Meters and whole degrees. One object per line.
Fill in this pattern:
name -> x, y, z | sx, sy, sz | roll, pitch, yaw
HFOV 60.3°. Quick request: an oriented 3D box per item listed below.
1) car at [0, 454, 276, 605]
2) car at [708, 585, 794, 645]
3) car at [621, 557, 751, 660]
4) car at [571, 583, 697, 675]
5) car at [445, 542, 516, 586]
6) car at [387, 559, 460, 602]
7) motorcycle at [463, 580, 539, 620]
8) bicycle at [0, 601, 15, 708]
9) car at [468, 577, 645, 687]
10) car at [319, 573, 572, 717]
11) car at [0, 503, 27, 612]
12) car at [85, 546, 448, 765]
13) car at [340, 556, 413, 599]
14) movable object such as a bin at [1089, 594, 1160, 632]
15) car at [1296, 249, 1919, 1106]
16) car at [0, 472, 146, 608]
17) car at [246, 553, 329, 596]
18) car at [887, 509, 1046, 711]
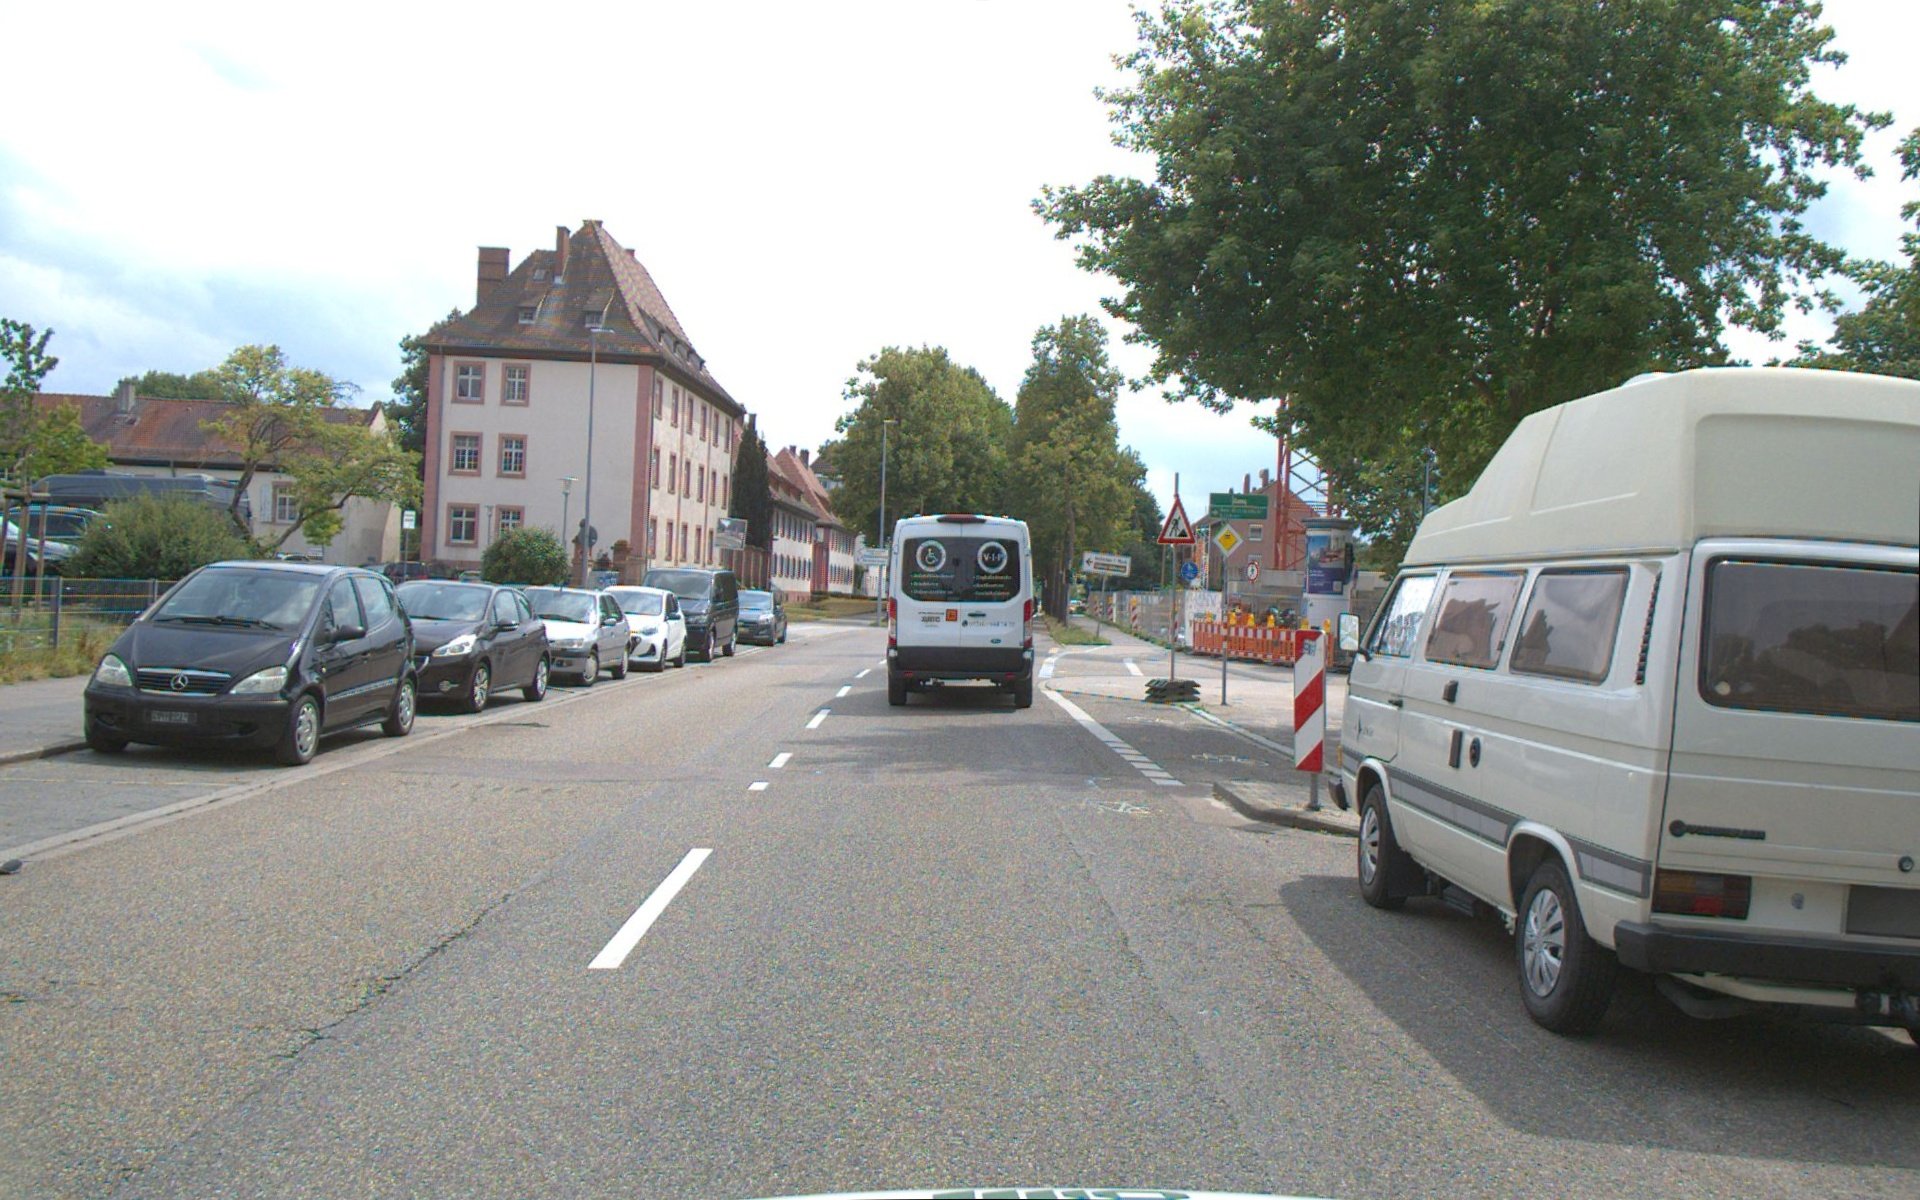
car -> -17.117, -1.421, 33.674 | 5.201, 2.596, 2.355 | 5, 0, 3
car -> -5.924, 0.389, 47.305 | 1.785, 1.498, 4.297 | 5, 0, 0
car -> -6.070, 0.166, 37.217 | 1.909, 2.039, 4.844 | 4, 0, 1
car -> -6.191, 0.505, 31.794 | 1.620, 1.556, 3.765 | 4, 1, -1
car -> -21.110, -1.612, 72.907 | 1.730, 1.740, 3.961 | 2, 3, 3
car -> -23.742, -0.895, 73.349 | 1.730, 1.740, 3.961 | 2, 3, 3
motorcycle -> -13.793, -0.001, 49.734 | 2.046, 1.162, 0.725 | 1, 0, 6
bicycle -> -9.460, 0.501, 14.927 | 0.611, 1.019, 2.081 | 4, 0, -1
car -> -6.139, 0.434, 25.627 | 1.653, 1.482, 4.263 | 3, 0, 0
car -> -6.144, 0.493, 20.252 | 1.652, 1.496, 4.049 | 3, 0, 2
car -> -17.533, -0.773, 25.669 | 4.979, 1.702, 2.002 | 3, 0, 4
car -> -5.924, 0.424, 14.663 | 1.589, 1.602, 3.998 | 3, 0, -2
car -> -26.082, -1.013, 73.987 | 1.730, 1.740, 3.699 | 2, 3, 3
movable object such as a bin -> 11.895, 0.934, 119.505 | 4.584, 2.635, 3.134 | 1, 0, 16
car -> 3.135, 0.299, 7.715 | 1.857, 2.646, 4.904 | 5, 0, -1
car -> -16.946, -1.050, 28.218 | 4.978, 2.187, 2.229 | 2, 0, 4
car -> -30.038, -1.170, 73.985 | 1.730, 1.740, 4.293 | 2, 3, 3
car -> 0.060, 0.135, 23.398 | 2.021, 2.584, 3.999 | 1, 0, -1
